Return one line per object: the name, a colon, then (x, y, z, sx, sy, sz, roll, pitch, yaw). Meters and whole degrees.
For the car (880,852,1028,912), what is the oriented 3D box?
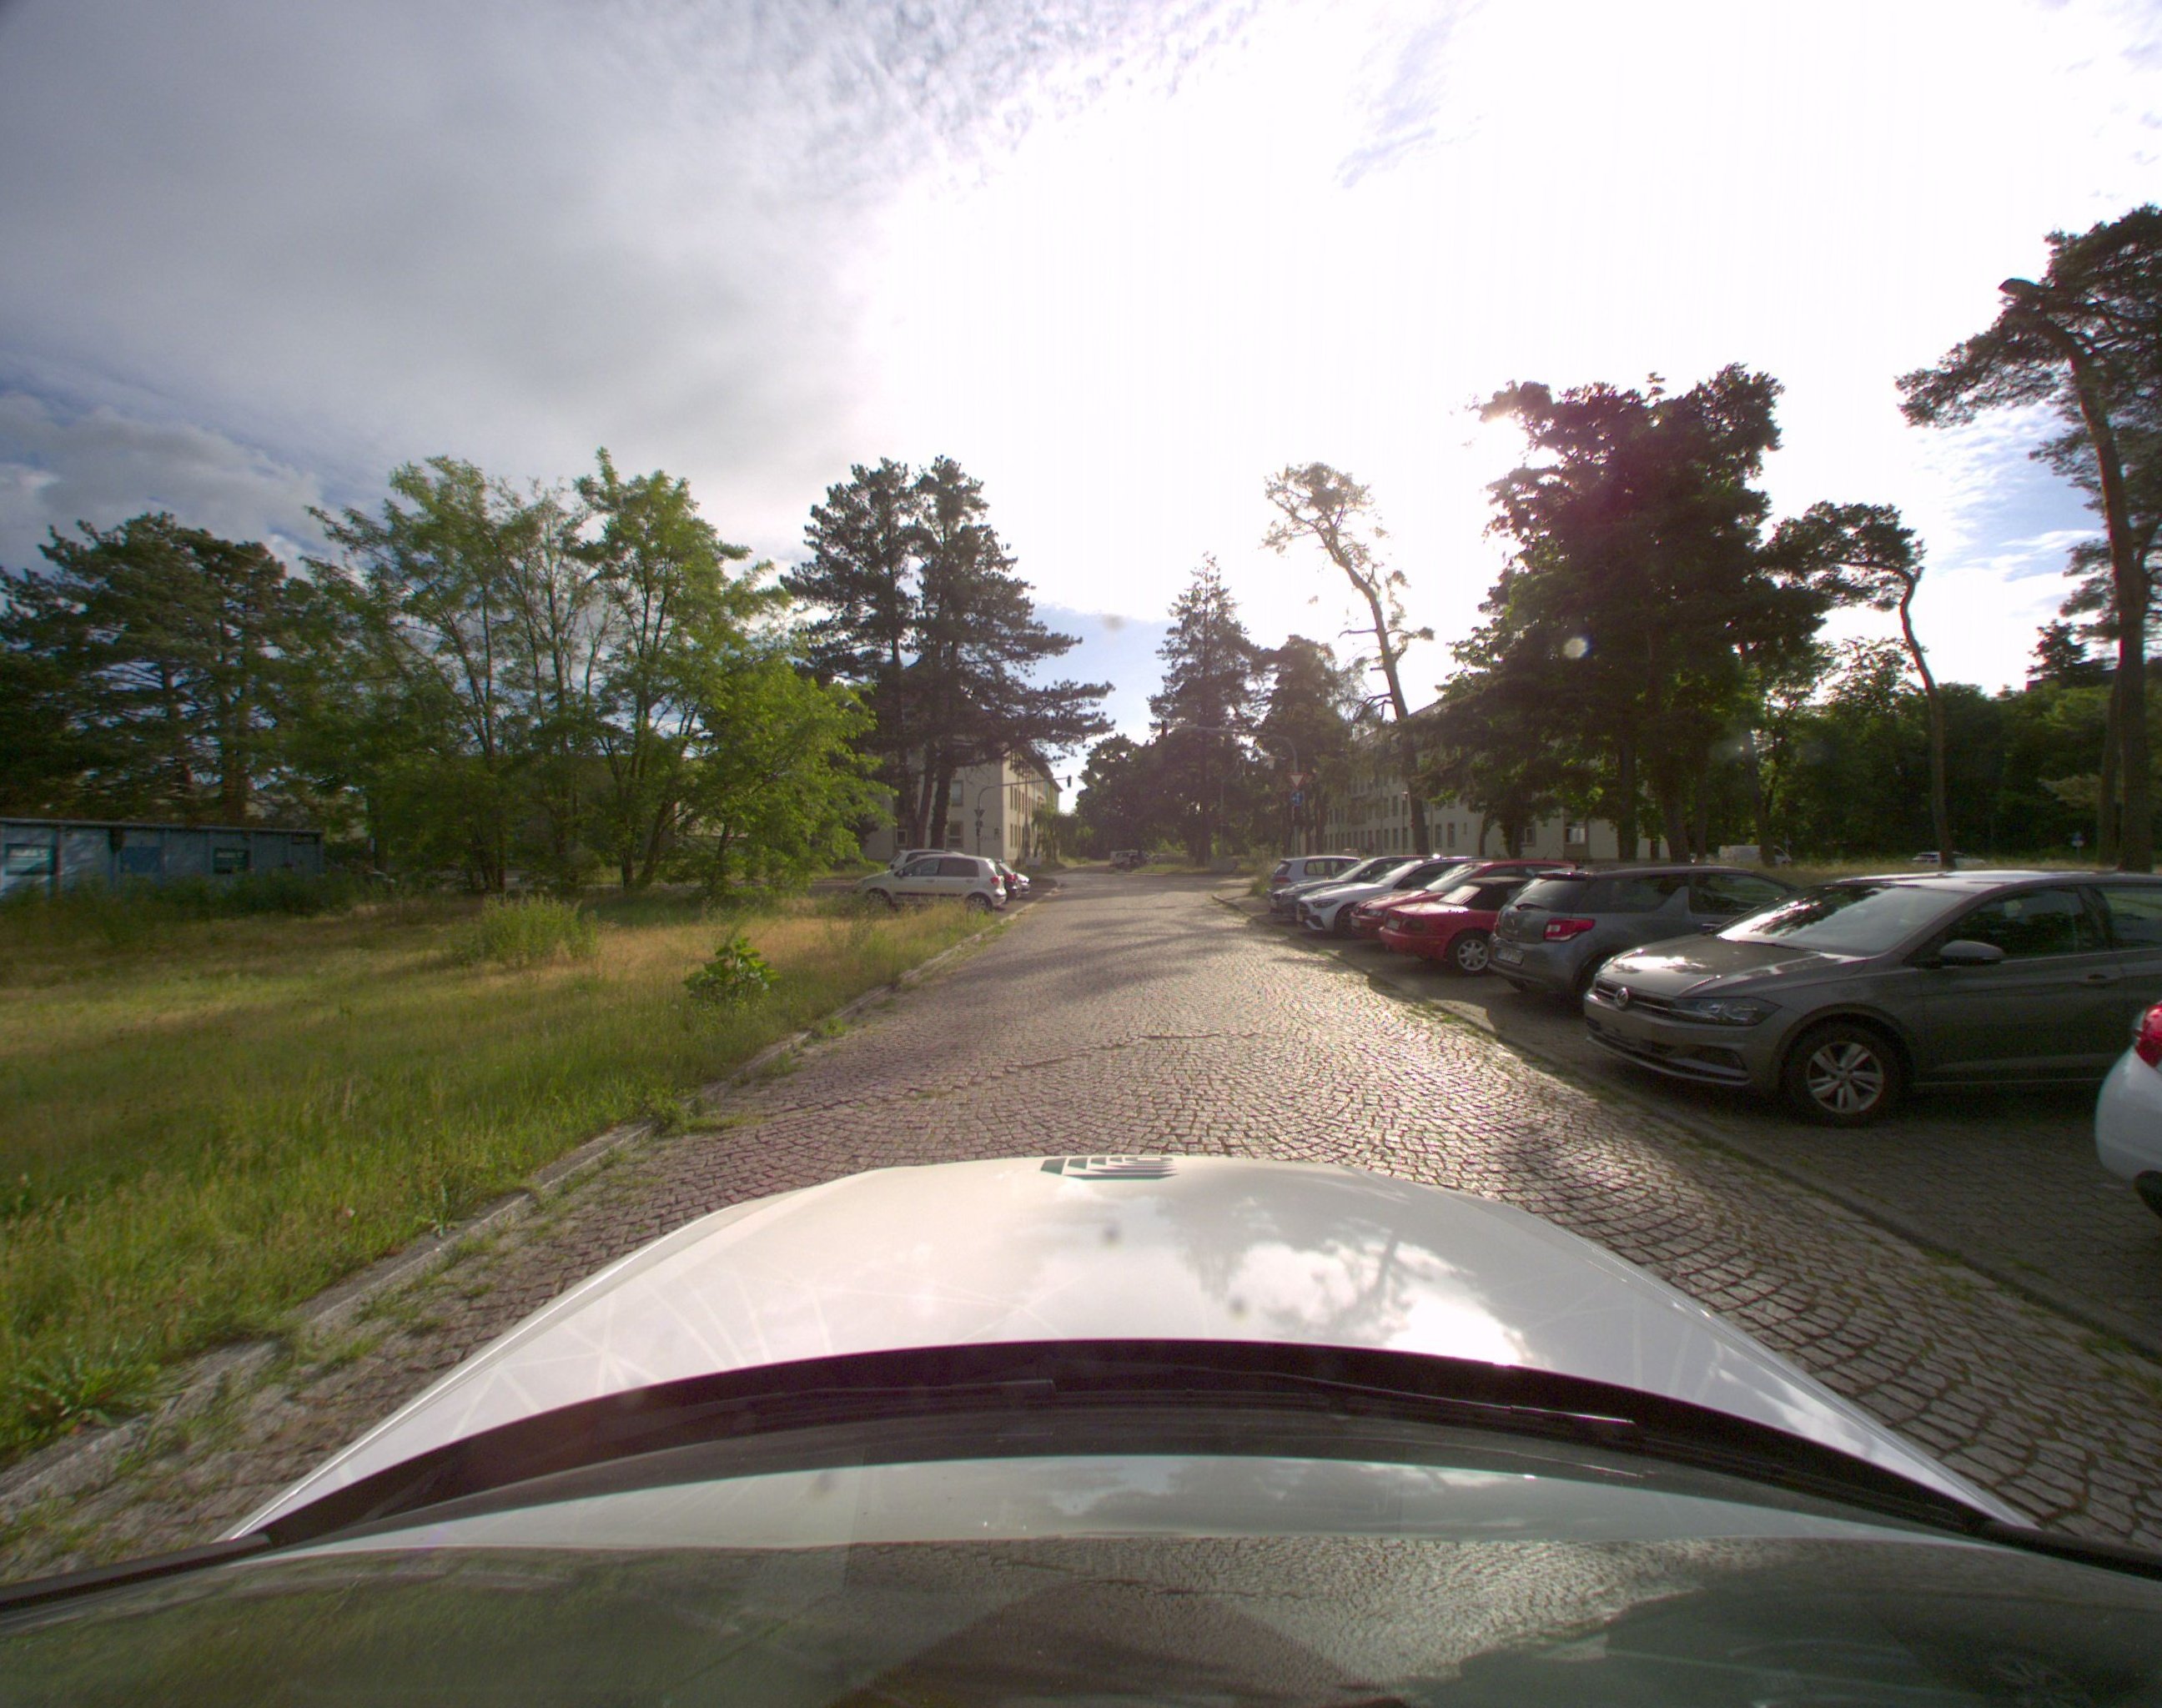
car: (-3.541, 0.777, 23.217, 3.815, 1.429, 1.859, 3, -1, 1)

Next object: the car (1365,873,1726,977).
car: (6.127, 0.920, 11.108, 3.935, 1.261, 1.727, -1, -1, 2)

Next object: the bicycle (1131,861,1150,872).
bicycle: (5.521, 1.145, 75.580, 1.786, 0.999, 0.644, 0, 0, 1)

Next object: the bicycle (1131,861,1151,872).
bicycle: (5.485, 1.136, 74.841, 1.786, 0.999, 0.644, 0, 0, 1)

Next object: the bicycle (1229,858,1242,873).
bicycle: (10.997, 0.816, 57.977, 0.561, 0.999, 1.751, 0, 1, -2)

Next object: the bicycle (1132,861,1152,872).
bicycle: (5.460, 1.119, 73.340, 1.786, 0.999, 0.644, 0, 0, 1)

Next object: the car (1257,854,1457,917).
car: (7.048, 0.792, 21.145, 4.529, 1.505, 1.933, -1, -1, 0)

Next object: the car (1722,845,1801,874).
car: (60.692, 0.513, 72.723, 5.136, 2.536, 2.266, 0, -1, 3)

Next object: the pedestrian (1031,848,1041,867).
pedestrian: (-4.729, 0.348, 84.982, 0.981, 1.963, 0.933, 0, -1, 1)

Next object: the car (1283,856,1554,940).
car: (6.369, 0.811, 15.755, 4.490, 1.473, 1.850, -1, -1, 1)

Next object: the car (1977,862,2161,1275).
car: (5.927, 0.777, 2.688, 3.859, 1.530, 1.809, -1, -1, 2)

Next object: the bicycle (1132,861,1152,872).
bicycle: (5.421, 1.105, 72.320, 1.786, 0.999, 0.644, 0, 0, 1)

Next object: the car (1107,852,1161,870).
car: (5.753, 0.797, 88.264, 5.504, 1.916, 2.245, 0, -1, -12)

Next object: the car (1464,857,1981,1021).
car: (6.358, 0.810, 8.461, 3.935, 1.495, 1.773, -1, -1, 2)

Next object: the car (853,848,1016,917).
car: (-3.609, 0.703, 20.562, 3.671, 1.473, 1.849, 3, -1, 0)

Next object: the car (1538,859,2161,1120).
car: (5.601, 0.788, 5.557, 3.935, 1.467, 1.832, -1, -1, 2)

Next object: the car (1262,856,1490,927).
car: (6.591, 0.811, 18.530, 4.495, 1.473, 1.894, -1, -1, -2)

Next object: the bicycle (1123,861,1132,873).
bicycle: (3.911, 1.090, 68.770, 0.725, 0.999, 1.800, 0, 1, 2)

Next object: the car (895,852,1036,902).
car: (-3.967, 0.776, 28.471, 4.573, 1.455, 1.903, 3, 1, -1)

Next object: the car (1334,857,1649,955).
car: (6.614, 0.812, 13.475, 4.324, 1.473, 1.740, -1, -1, 1)

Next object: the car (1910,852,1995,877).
car: (60.523, 0.728, 56.603, 3.919, 1.679, 1.856, 0, -1, 0)

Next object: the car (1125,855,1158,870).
car: (6.276, 0.881, 84.679, 3.033, 1.465, 1.714, 0, -1, -11)

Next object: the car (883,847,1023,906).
car: (-3.980, 0.708, 25.927, 4.111, 1.600, 1.857, 3, -1, -3)
